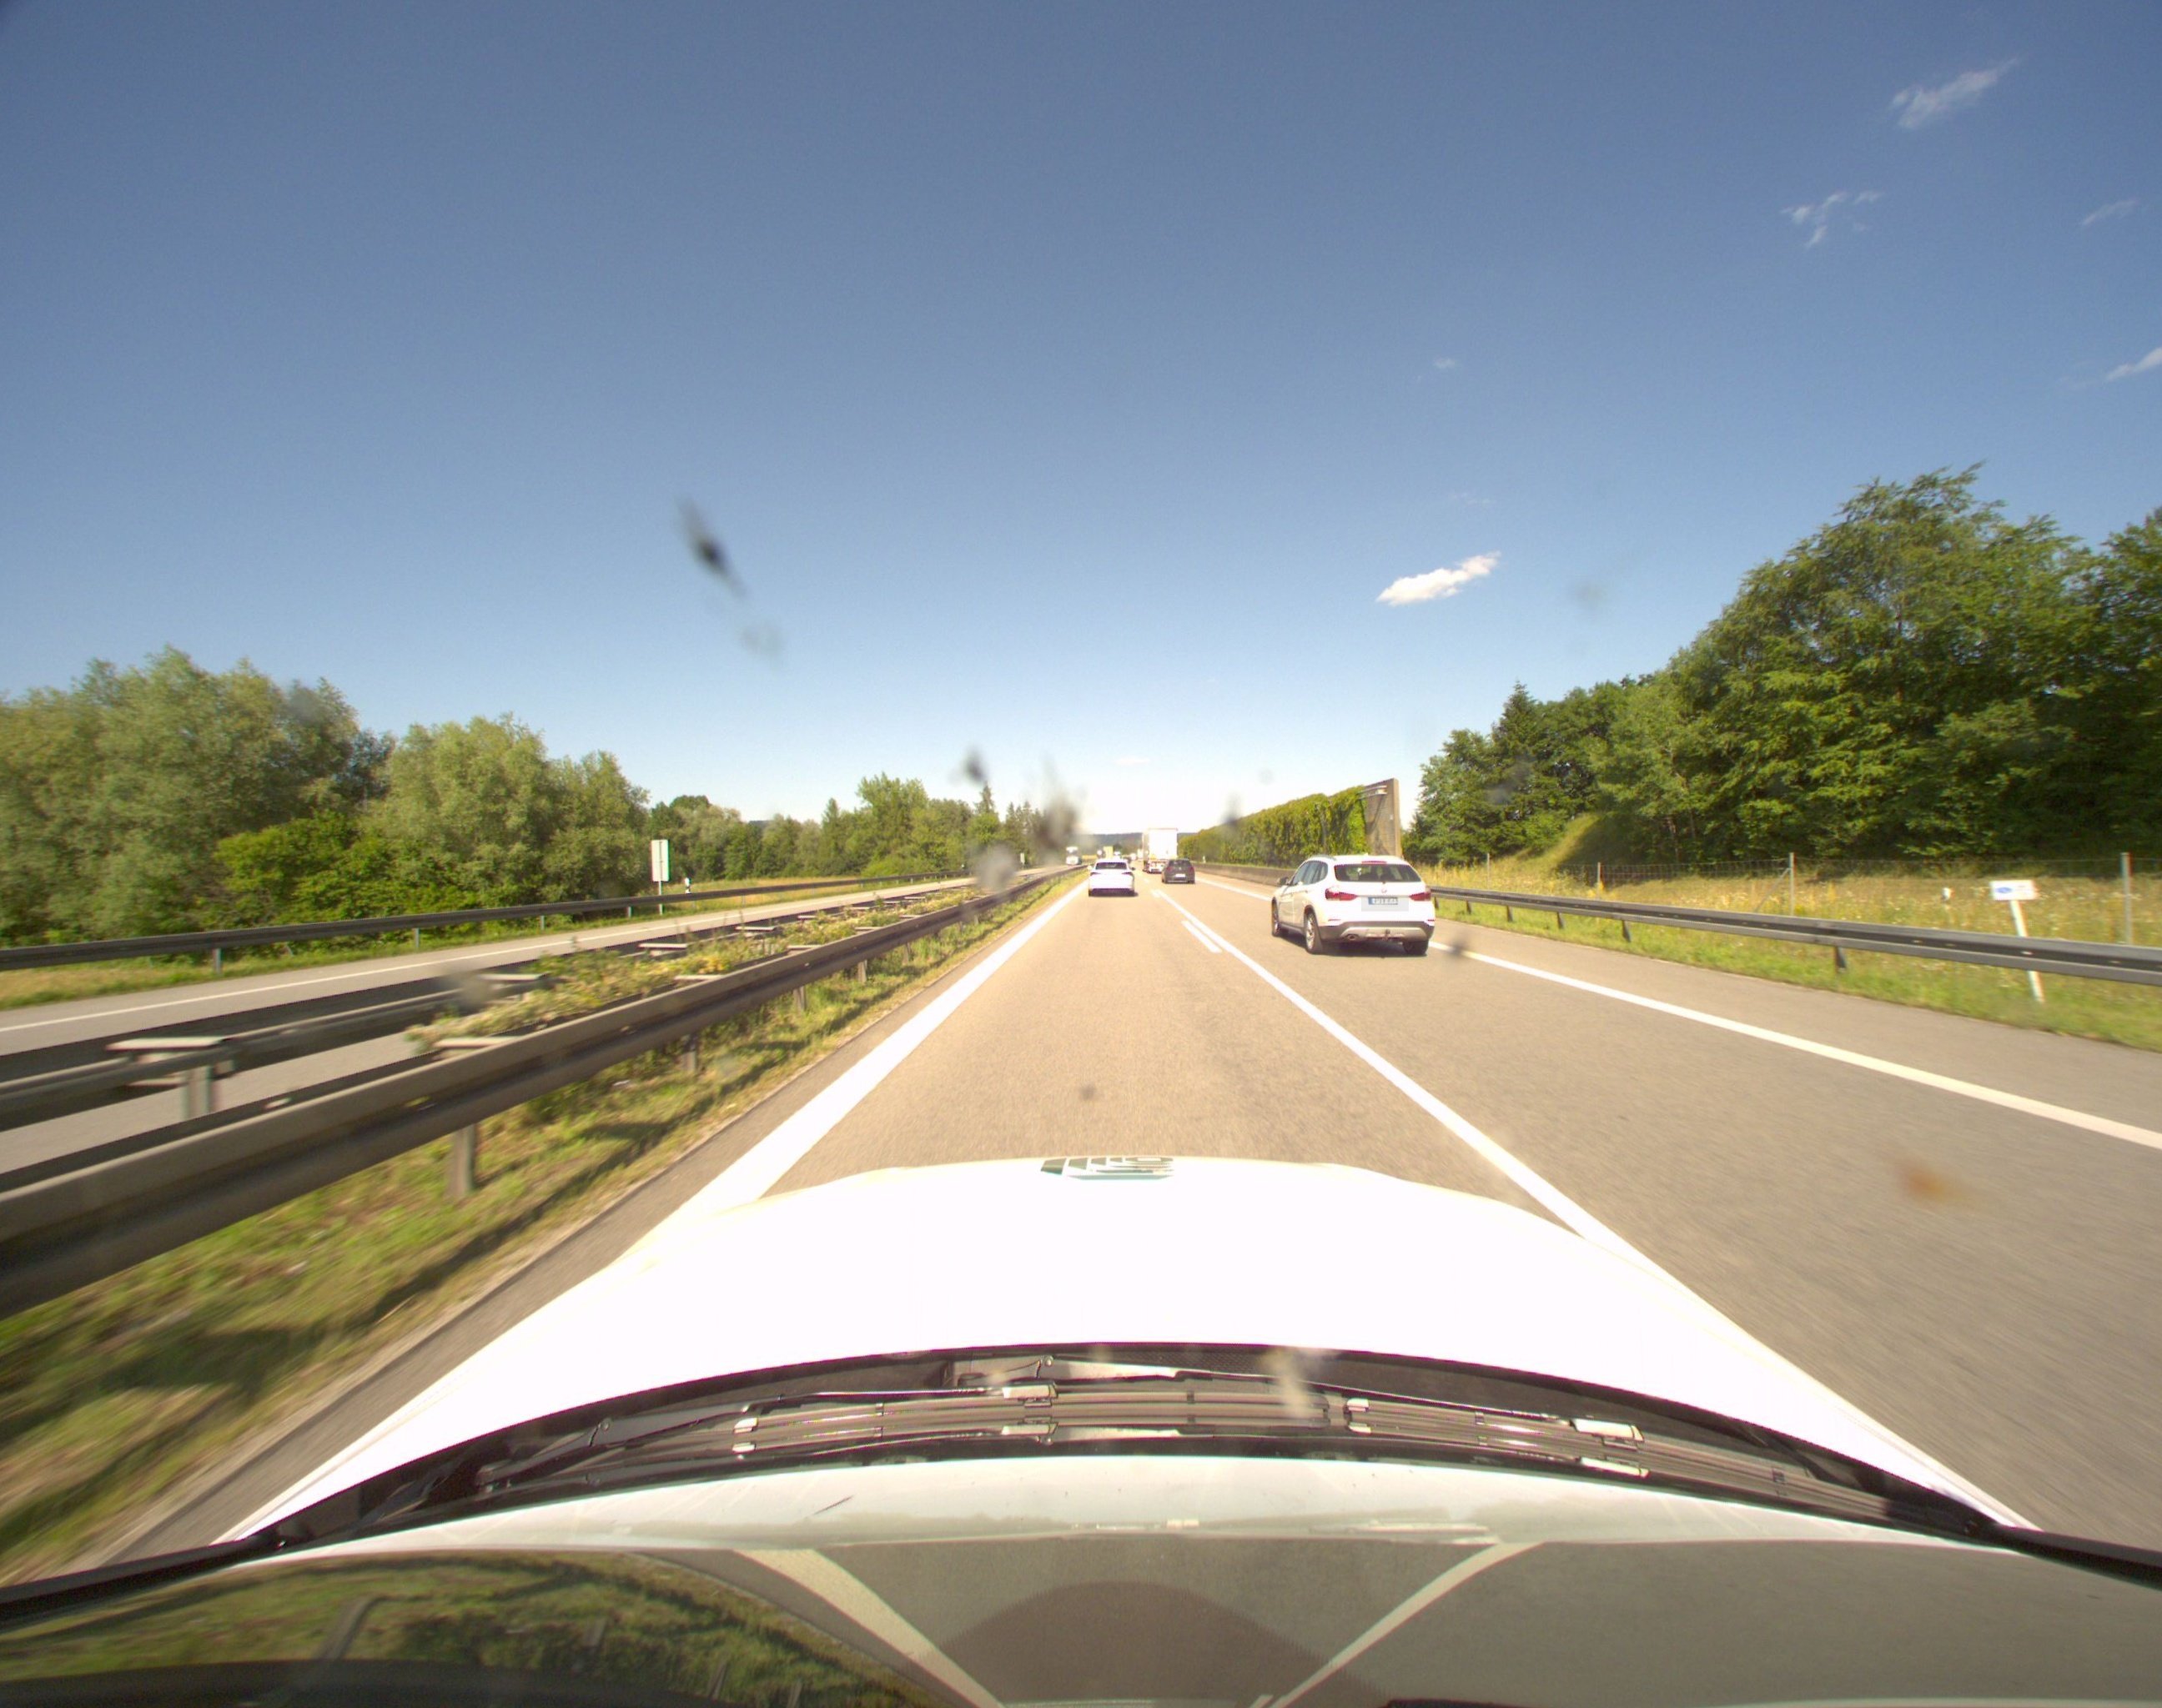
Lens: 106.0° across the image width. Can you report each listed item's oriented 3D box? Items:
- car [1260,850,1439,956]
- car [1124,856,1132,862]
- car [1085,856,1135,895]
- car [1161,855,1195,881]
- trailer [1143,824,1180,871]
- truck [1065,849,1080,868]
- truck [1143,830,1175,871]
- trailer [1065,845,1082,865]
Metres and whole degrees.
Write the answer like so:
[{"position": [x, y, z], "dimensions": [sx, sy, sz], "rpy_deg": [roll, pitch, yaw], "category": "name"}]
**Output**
[{"position": [4.384, 0.687, 14.137], "dimensions": [1.678, 1.496, 4.990], "rpy_deg": [0, 1, 3], "category": "car"}, {"position": [10.654, 1.211, 185.997], "dimensions": [1.764, 1.421, 4.497], "rpy_deg": [0, 0, 2], "category": "car"}, {"position": [1.197, 0.809, 32.685], "dimensions": [1.832, 1.421, 5.258], "rpy_deg": [0, 0, 3], "category": "car"}, {"position": [5.522, 0.785, 46.992], "dimensions": [1.658, 1.454, 4.548], "rpy_deg": [0, 0, 3], "category": "car"}, {"position": [7.516, -0.552, 77.511], "dimensions": [2.806, 3.966, 14.173], "rpy_deg": [-2, 0, 4], "category": "trailer"}, {"position": [-1.889, 0.982, 178.993], "dimensions": [2.633, 4.008, 7.198], "rpy_deg": [-2, 0, 3], "category": "truck"}, {"position": [7.991, -0.317, 84.173], "dimensions": [2.828, 3.966, 7.049], "rpy_deg": [-2, 0, 3], "category": "truck"}, {"position": [-1.620, 0.232, 182.442], "dimensions": [2.650, 4.008, 14.097], "rpy_deg": [-2, 0, 3], "category": "trailer"}]
